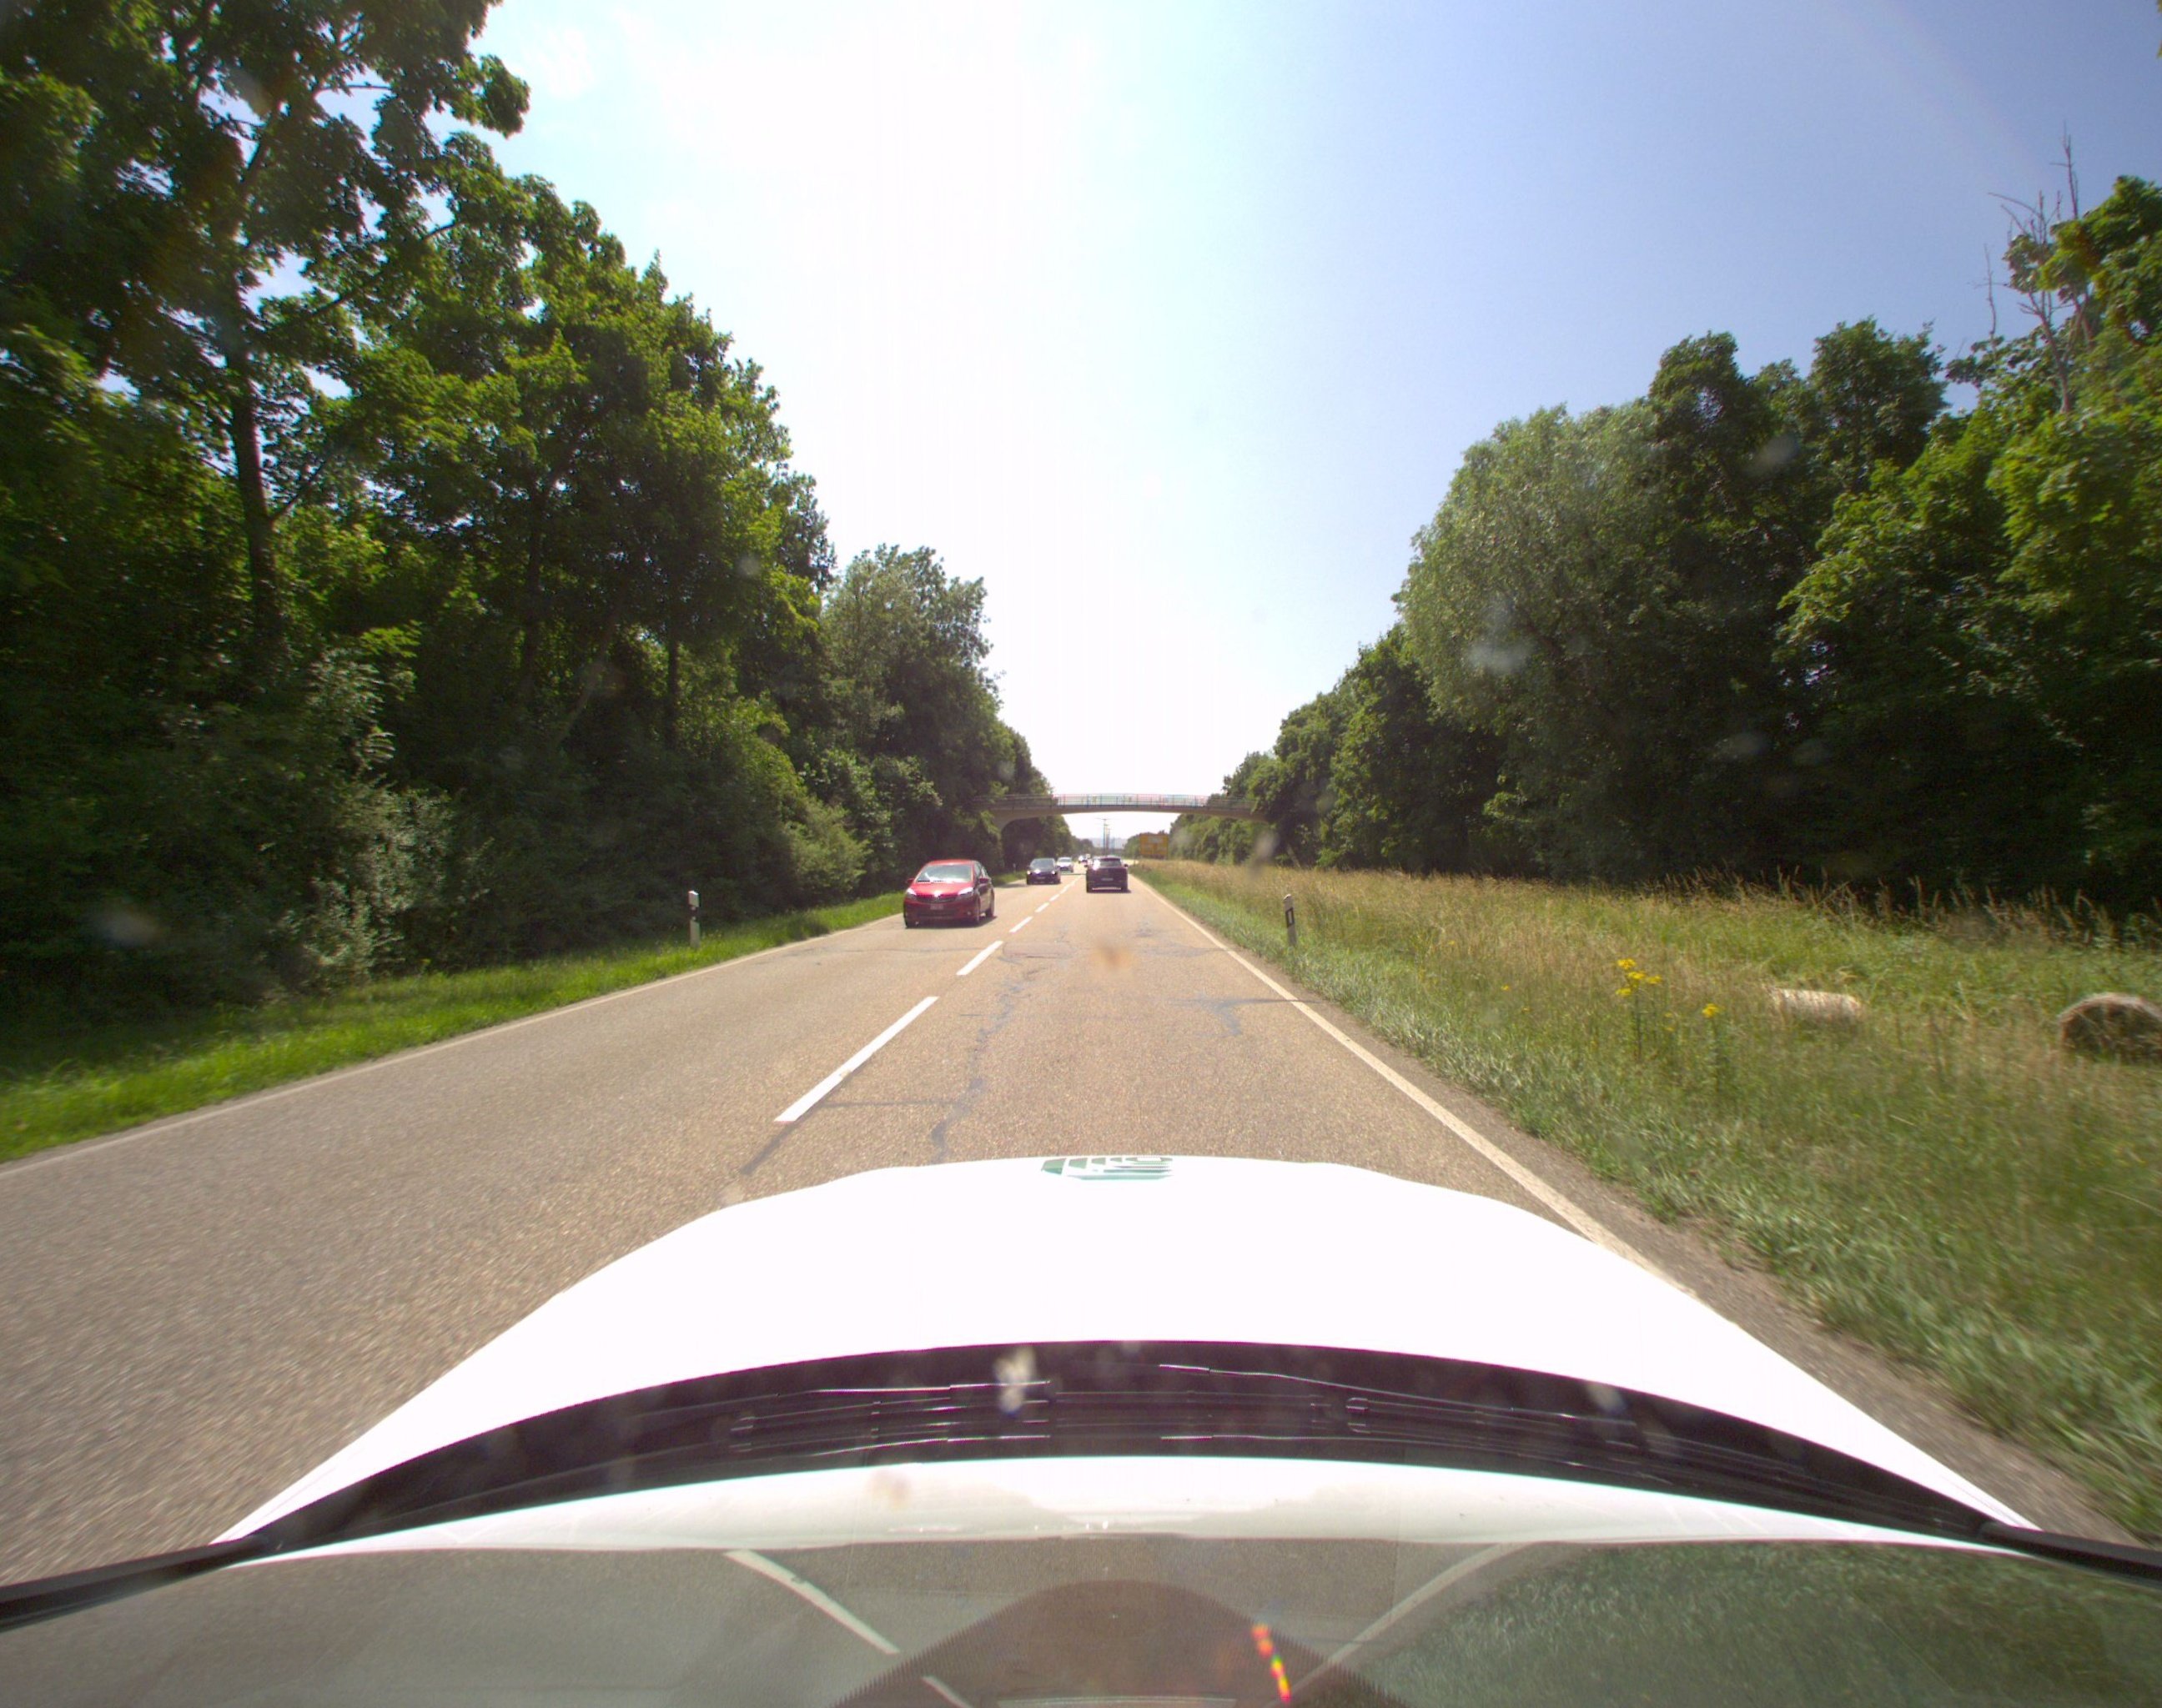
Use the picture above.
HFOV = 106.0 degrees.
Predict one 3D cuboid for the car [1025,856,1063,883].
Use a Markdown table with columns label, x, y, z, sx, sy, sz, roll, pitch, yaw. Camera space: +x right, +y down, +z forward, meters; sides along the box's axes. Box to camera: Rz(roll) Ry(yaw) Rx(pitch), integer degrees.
| label | x | y | z | sx | sy | sz | roll | pitch | yaw |
| --- | --- | --- | --- | --- | --- | --- | --- | --- | --- |
| car | -2.097 | 0.879 | 47.004 | 1.776 | 1.449 | 4.113 | -1 | 0 | 3 |

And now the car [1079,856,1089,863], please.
| label | x | y | z | sx | sy | sz | roll | pitch | yaw |
| --- | --- | --- | --- | --- | --- | --- | --- | --- | --- |
| car | 0.625 | 1.151 | 170.933 | 1.816 | 1.590 | 4.421 | -2 | 0 | 2 |

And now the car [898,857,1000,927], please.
| label | x | y | z | sx | sy | sz | roll | pitch | yaw |
| --- | --- | --- | --- | --- | --- | --- | --- | --- | --- |
| car | -3.110 | 0.844 | 19.943 | 1.676 | 1.493 | 4.002 | -1 | 0 | 2 |

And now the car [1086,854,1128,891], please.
| label | x | y | z | sx | sy | sz | roll | pitch | yaw |
| --- | --- | --- | --- | --- | --- | --- | --- | --- | --- |
| car | 1.191 | 0.784 | 35.694 | 1.748 | 1.556 | 4.003 | 0 | -1 | 3 |

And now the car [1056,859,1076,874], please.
| label | x | y | z | sx | sy | sz | roll | pitch | yaw |
| --- | --- | --- | --- | --- | --- | --- | --- | --- | --- |
| car | -1.465 | 1.196 | 80.090 | 1.671 | 1.433 | 3.775 | -1 | 0 | 3 |
